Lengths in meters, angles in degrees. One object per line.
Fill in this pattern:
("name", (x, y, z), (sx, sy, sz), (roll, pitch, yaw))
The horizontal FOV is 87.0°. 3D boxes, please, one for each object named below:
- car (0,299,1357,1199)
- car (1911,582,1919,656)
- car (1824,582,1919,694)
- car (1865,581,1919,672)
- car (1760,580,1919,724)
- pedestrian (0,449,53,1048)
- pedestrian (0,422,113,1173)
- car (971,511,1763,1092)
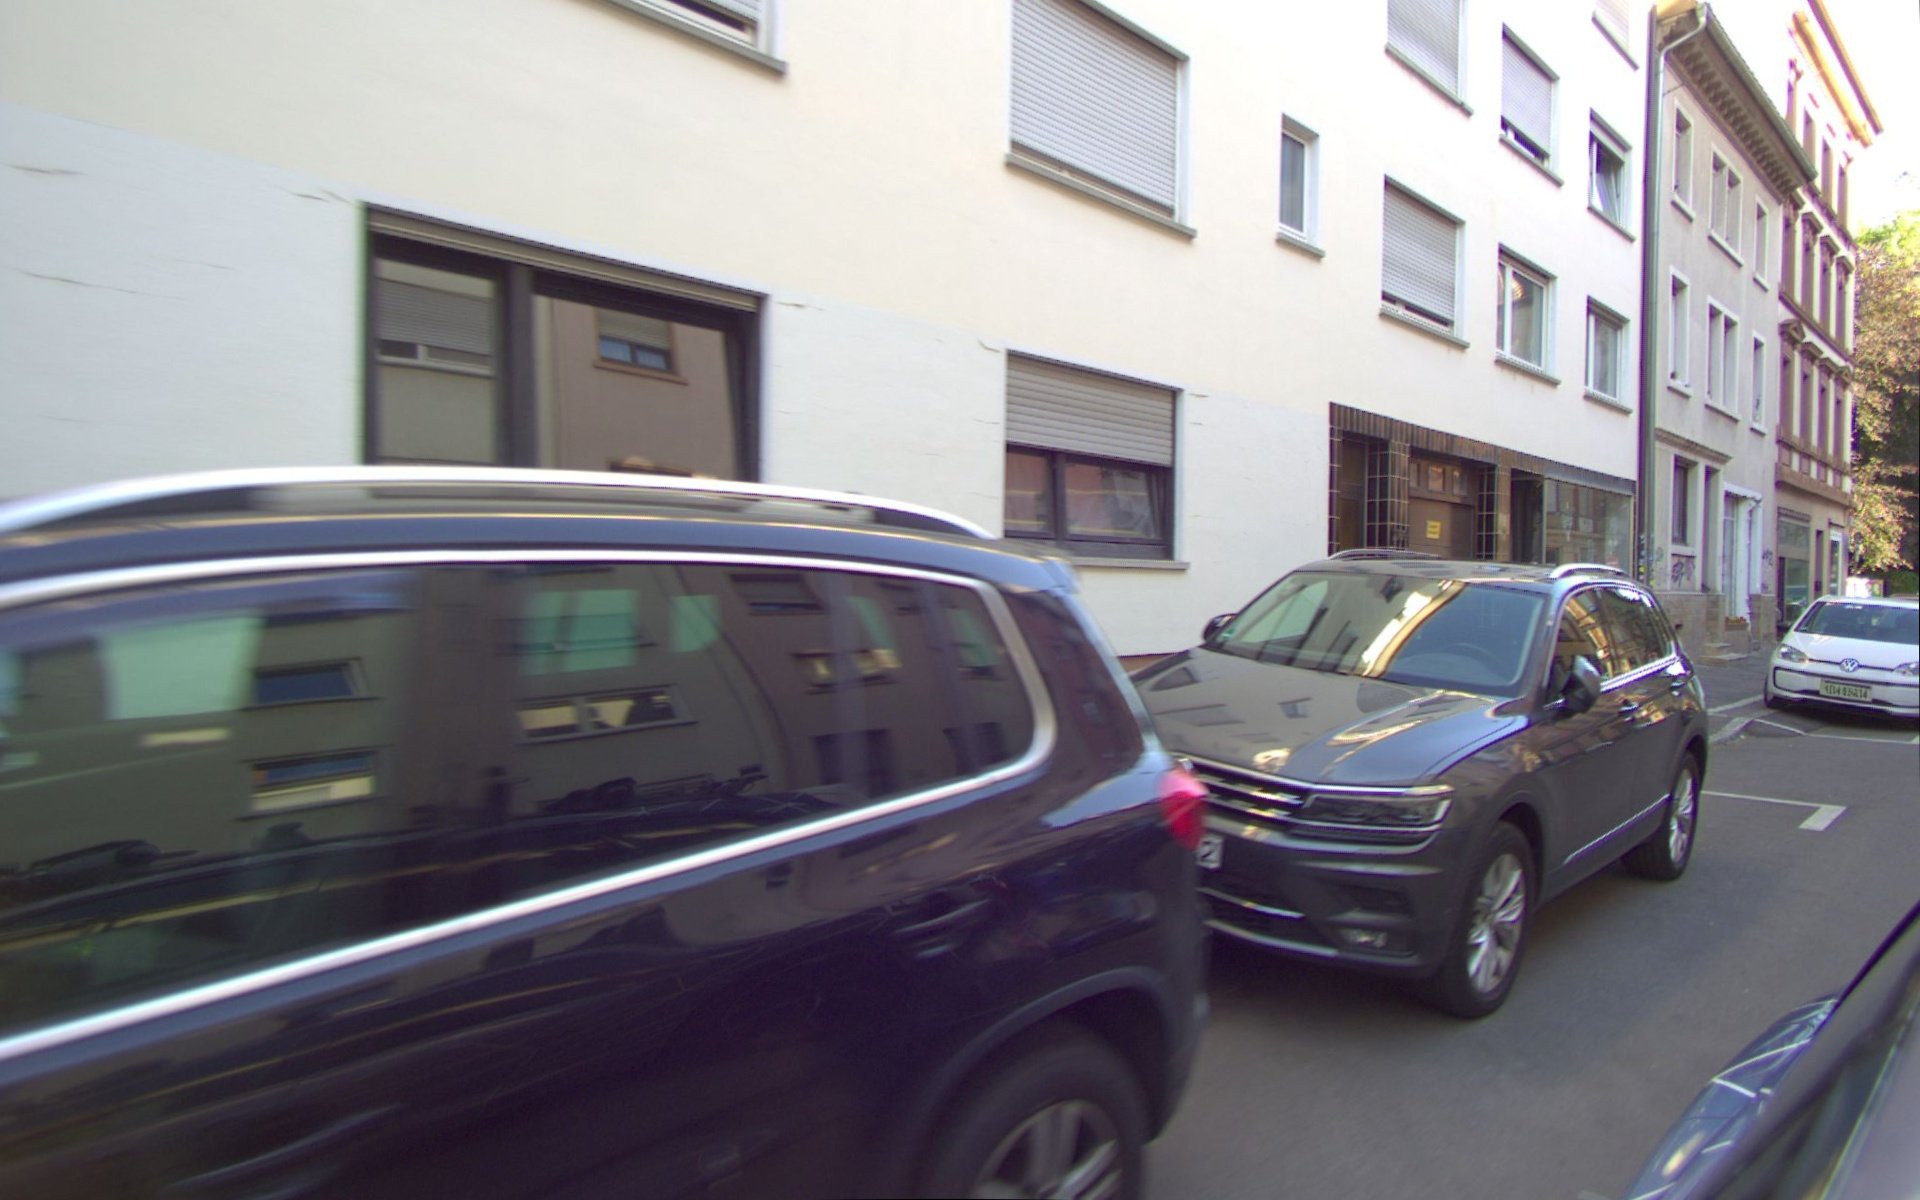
("car", (-1.328, 0.551, 1.463), (4.254, 1.686, 1.769), (-1, 5, -42))
("car", (22.311, 0.442, 22.108), (4.032, 1.552, 1.768), (-1, 5, -41))
("car", (15.168, 0.533, 15.925), (4.032, 1.552, 1.768), (-1, 4, -41))
("car", (18.421, 0.468, 18.872), (4.032, 1.552, 1.768), (-1, 4, -41))
("car", (11.942, 0.562, 13.062), (4.032, 1.535, 1.768), (-1, 5, -41))
("pedestrian", (-3.120, 0.414, 2.949), (0.694, 1.729, 0.598), (0, 4, -41))
("pedestrian", (-2.541, 0.436, 2.450), (0.739, 1.729, 0.712), (0, 4, -41))
("car", (2.284, 0.509, 5.051), (4.253, 1.686, 1.885), (-1, 5, -41))
